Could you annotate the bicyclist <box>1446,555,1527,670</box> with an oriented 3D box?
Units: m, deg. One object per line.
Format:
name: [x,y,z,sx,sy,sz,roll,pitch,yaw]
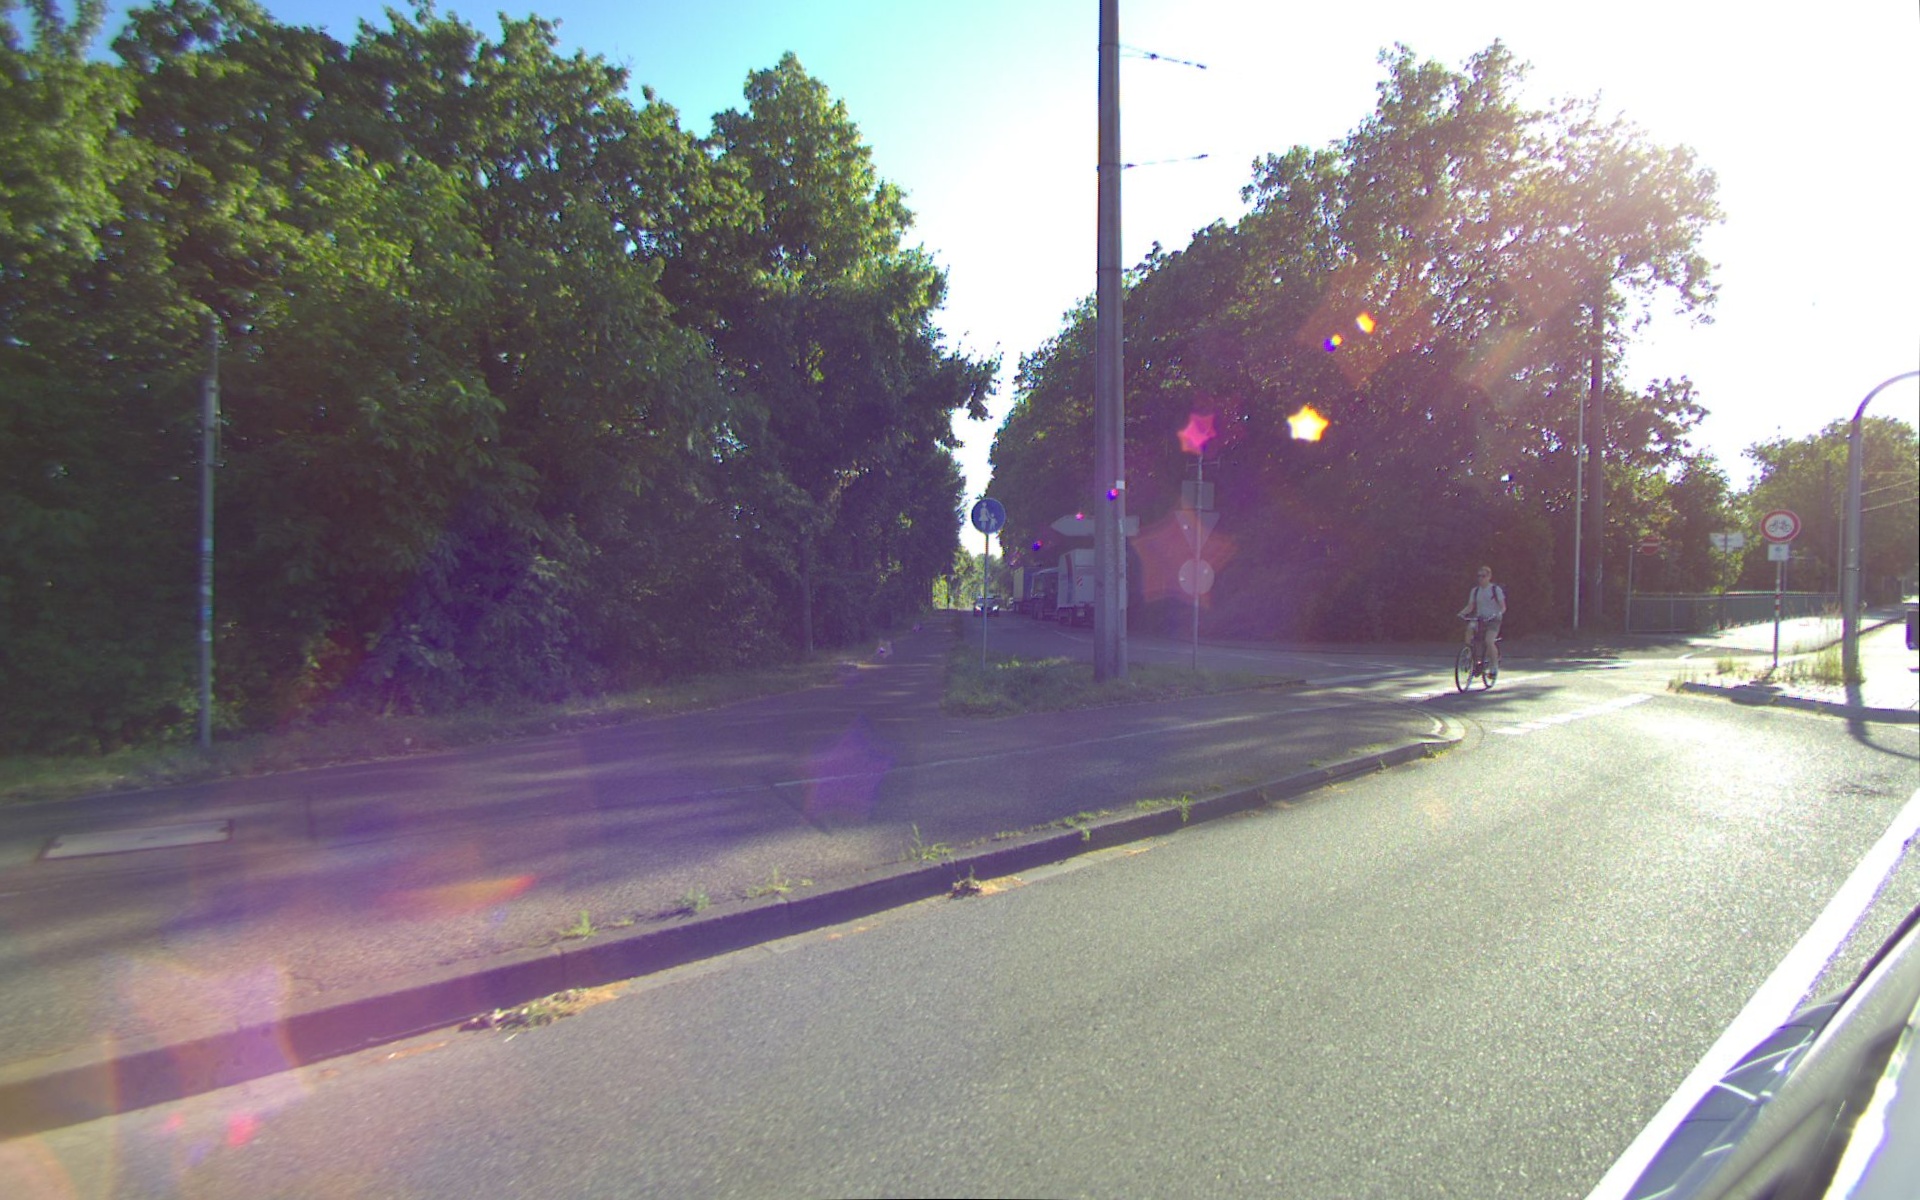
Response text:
bicyclist: [8.162,0.194,15.681,1.182,1.711,0.731,0,-2,-43]

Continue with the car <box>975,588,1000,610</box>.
car: [1.997,-0.113,74.160,1.705,1.571,4.000,0,1,0]

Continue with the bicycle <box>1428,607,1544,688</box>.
bicycle: [8.161,0.691,15.639,2.696,1.137,0.731,0,-2,-44]

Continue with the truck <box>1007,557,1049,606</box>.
truck: [5.712,-1.583,85.885,2.510,3.892,7.986,0,1,-4]

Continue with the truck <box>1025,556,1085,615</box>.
truck: [5.879,-0.941,64.017,2.510,3.492,7.986,0,1,-4]

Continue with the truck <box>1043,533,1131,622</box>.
truck: [6.175,-1.108,50.831,2.510,4.047,9.894,0,1,-4]
